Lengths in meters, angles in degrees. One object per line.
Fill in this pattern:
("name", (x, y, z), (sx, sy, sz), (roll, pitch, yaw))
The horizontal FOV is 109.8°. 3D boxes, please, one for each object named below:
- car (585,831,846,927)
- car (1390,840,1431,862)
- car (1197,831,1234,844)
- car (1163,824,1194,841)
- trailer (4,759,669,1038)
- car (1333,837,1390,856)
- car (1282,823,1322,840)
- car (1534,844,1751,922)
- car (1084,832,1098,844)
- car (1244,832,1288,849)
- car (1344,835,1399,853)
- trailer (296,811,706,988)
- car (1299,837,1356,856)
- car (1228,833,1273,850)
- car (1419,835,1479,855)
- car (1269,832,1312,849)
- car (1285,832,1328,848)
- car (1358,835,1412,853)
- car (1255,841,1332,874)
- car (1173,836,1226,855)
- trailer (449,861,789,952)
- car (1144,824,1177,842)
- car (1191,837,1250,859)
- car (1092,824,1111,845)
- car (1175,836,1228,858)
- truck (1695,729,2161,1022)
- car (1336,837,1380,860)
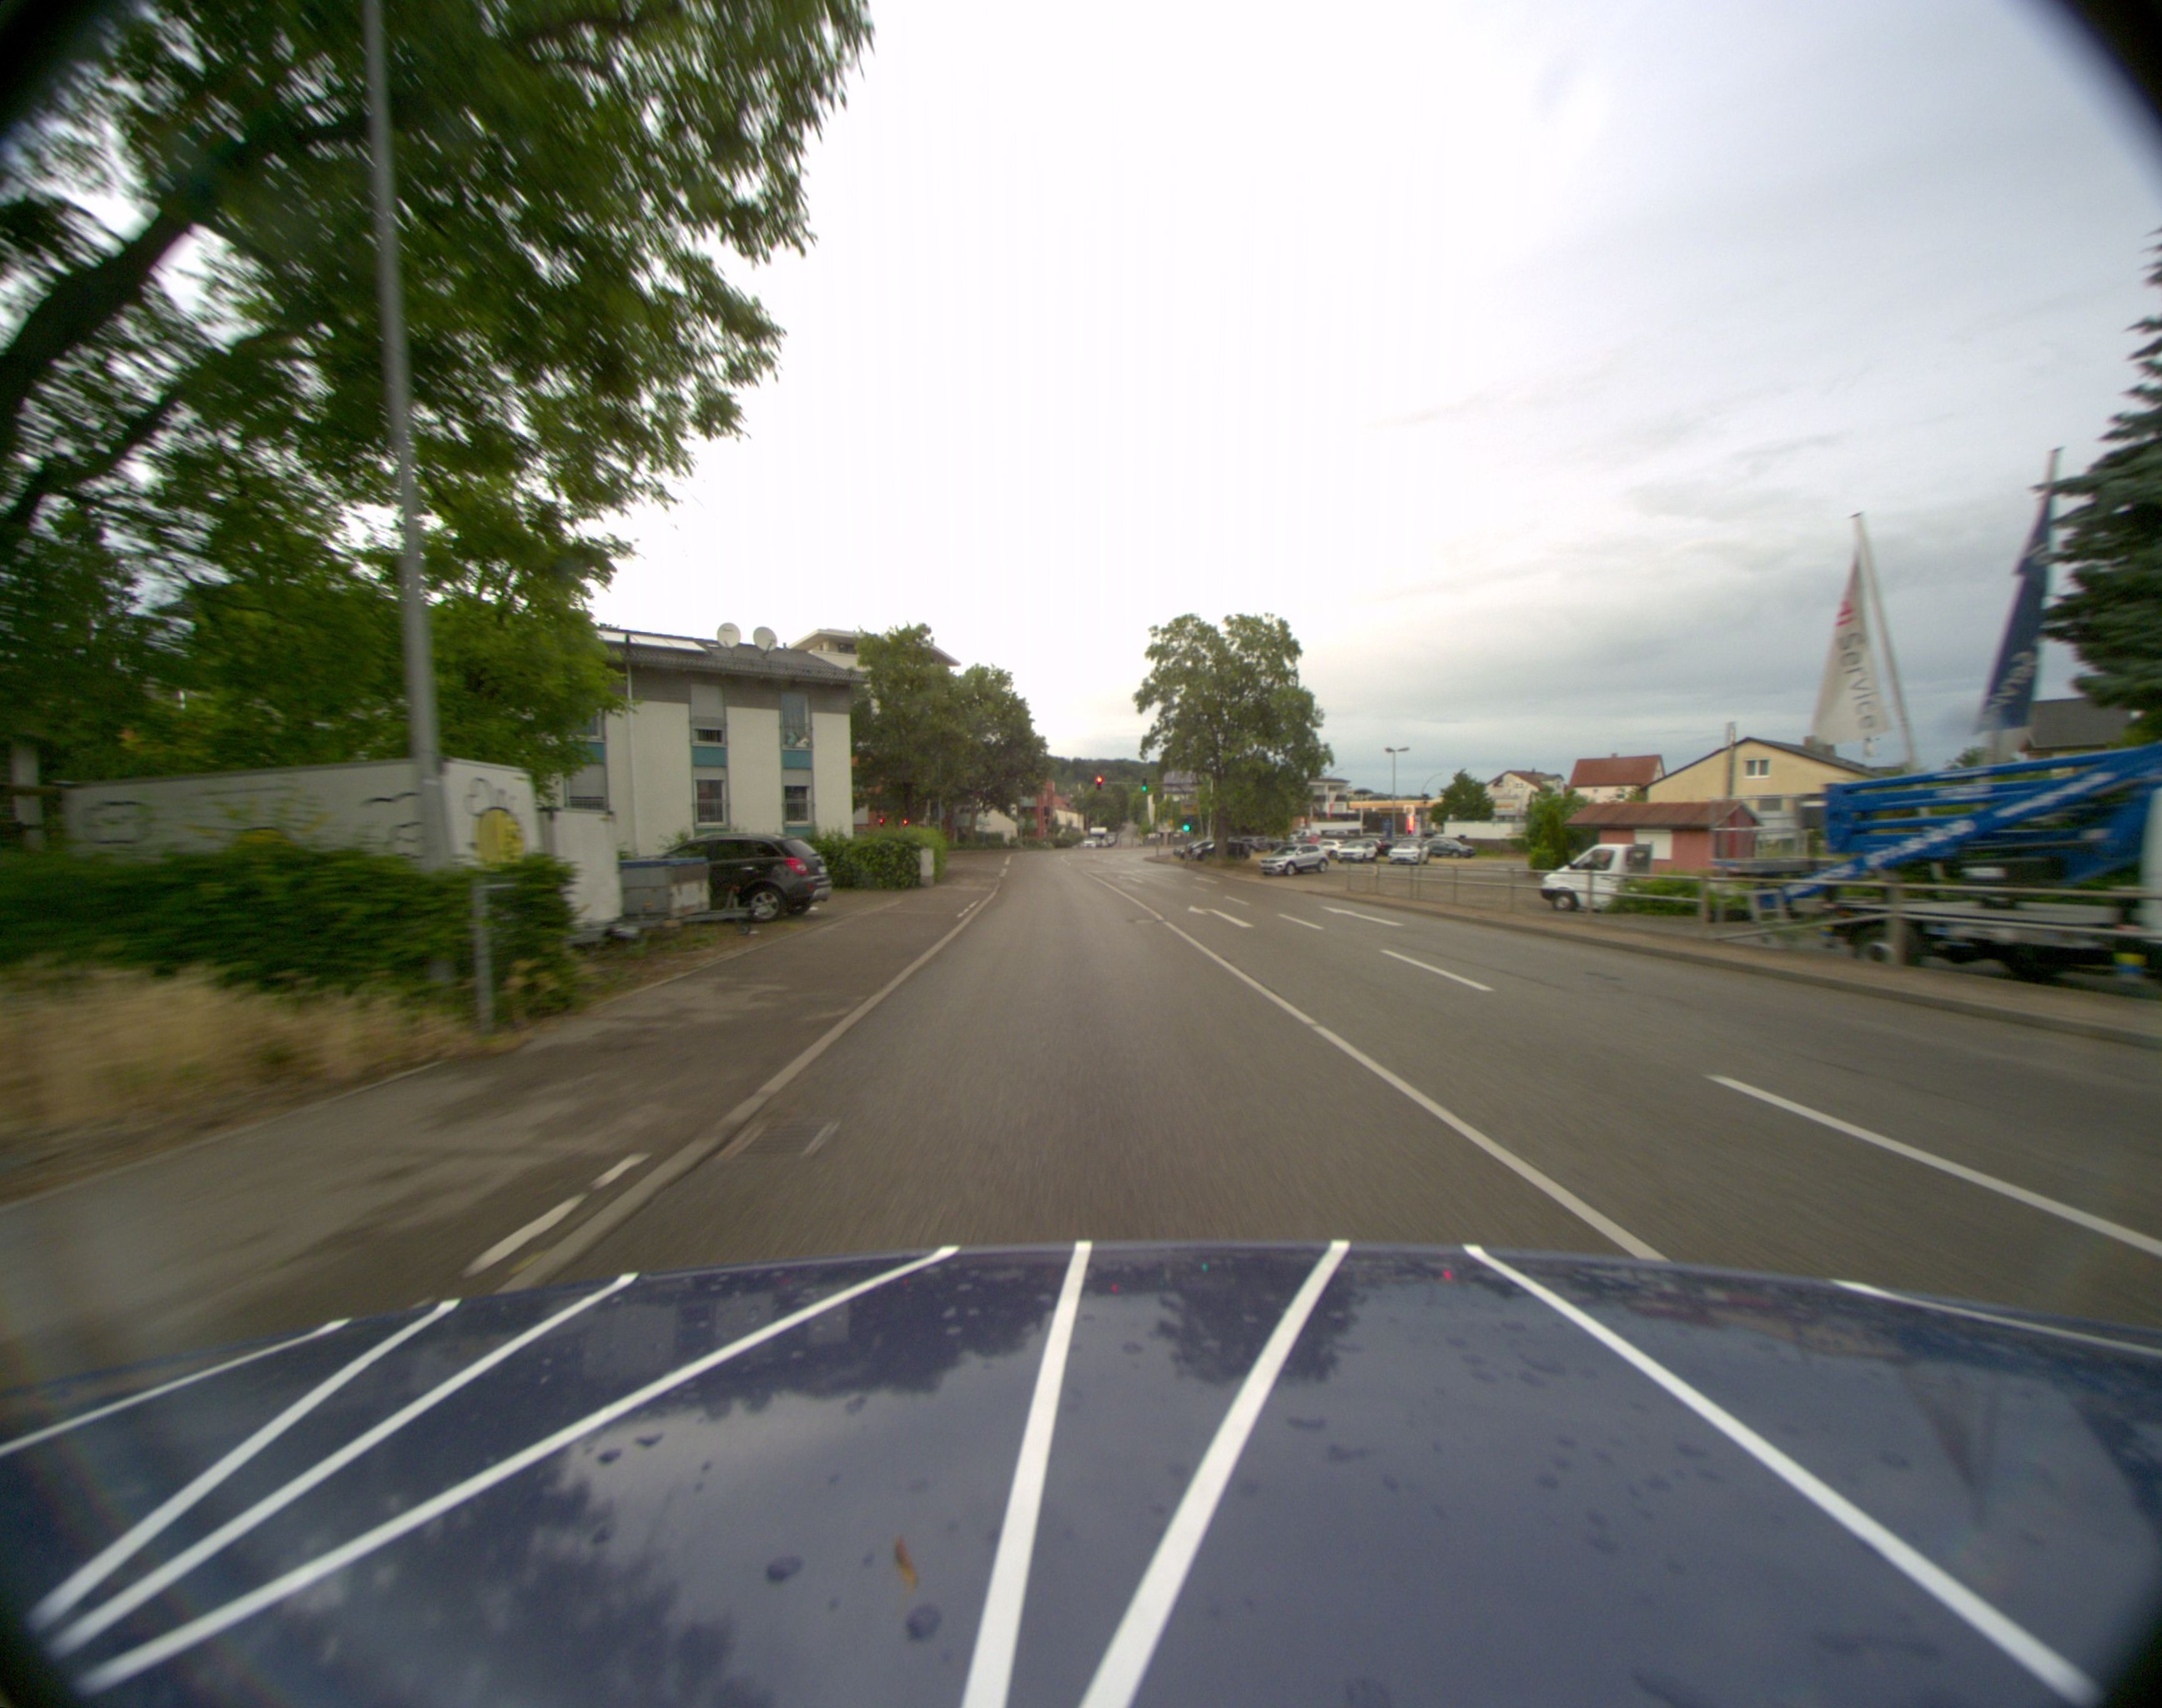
("car", (-7.121, 0.457, 15.181), (4.224, 1.740, 1.984), (-1, 1, -1))
("car", (22.488, -0.237, 51.760), (1.824, 1.407, 4.017), (1, 2, 34))
("car", (14.342, -1.761, 80.902), (3.709, 1.373, 1.646), (0, 2, -33))
("car", (12.975, -2.914, 101.452), (1.773, 2.094, 4.209), (-3, 6, -35))
("trailer", (-7.154, 0.327, 7.916), (4.550, 2.387, 1.947), (-2, 2, -9))
("car", (22.996, -0.627, 62.443), (1.794, 1.444, 4.032), (-2, 3, -36))
("car", (28.273, -2.828, 97.163), (5.265, 2.075, 2.048), (-1, 2, -35))
("car", (15.175, 0.664, 20.790), (2.067, 1.860, 4.271), (-1, 2, -30))
("car", (1.313, -2.066, 96.999), (1.769, 1.460, 3.999), (0, 2, 0))
("car", (17.454, -1.296, 71.909), (1.596, 1.542, 3.763), (-3, 3, -45))
("car", (24.693, -0.844, 64.653), (1.794, 1.444, 4.032), (-2, 3, -36))
("trailer", (-7.431, 0.526, 10.075), (3.963, 2.010, 1.686), (-2, 2, -3))
("car", (19.845, -0.633, 61.277), (1.794, 1.444, 4.032), (-2, 3, -36))
("car", (15.528, -1.185, 69.689), (1.596, 1.542, 3.763), (-3, 3, -45))
("car", (29.682, -0.764, 61.439), (1.793, 1.546, 4.033), (-2, 3, -31))
("car", (20.306, -1.306, 73.807), (1.596, 1.542, 3.763), (-3, 3, -45))
("car", (22.474, -1.395, 75.693), (1.596, 1.542, 3.763), (-3, 3, -45))
("car", (26.523, -0.895, 66.337), (1.794, 1.444, 4.032), (-2, 3, -36))
("car", (11.365, 0.143, 40.551), (4.014, 1.561, 1.716), (-3, 2, -33))
("car", (9.618, -0.719, 61.574), (4.153, 1.502, 1.673), (0, 3, 12))
("trailer", (-7.213, 0.792, 12.190), (4.409, 1.280, 1.571), (-1, 1, -3))
("car", (10.085, -2.695, 96.790), (1.773, 2.094, 4.370), (-3, 6, -34))
("car", (9.915, -0.425, 54.231), (3.894, 1.559, 1.671), (0, 2, -1))
("car", (3.067, -2.997, 114.017), (2.574, 2.759, 6.124), (1, 5, 3))
("car", (9.017, -0.545, 57.022), (3.766, 1.559, 1.672), (0, 2, 2))
("truck", (10.725, 0.165, 8.221), (1.998, 2.618, 7.892), (0, 1, 2))
("car", (19.709, -0.397, 53.924), (1.785, 1.501, 4.051), (2, 3, 37))
